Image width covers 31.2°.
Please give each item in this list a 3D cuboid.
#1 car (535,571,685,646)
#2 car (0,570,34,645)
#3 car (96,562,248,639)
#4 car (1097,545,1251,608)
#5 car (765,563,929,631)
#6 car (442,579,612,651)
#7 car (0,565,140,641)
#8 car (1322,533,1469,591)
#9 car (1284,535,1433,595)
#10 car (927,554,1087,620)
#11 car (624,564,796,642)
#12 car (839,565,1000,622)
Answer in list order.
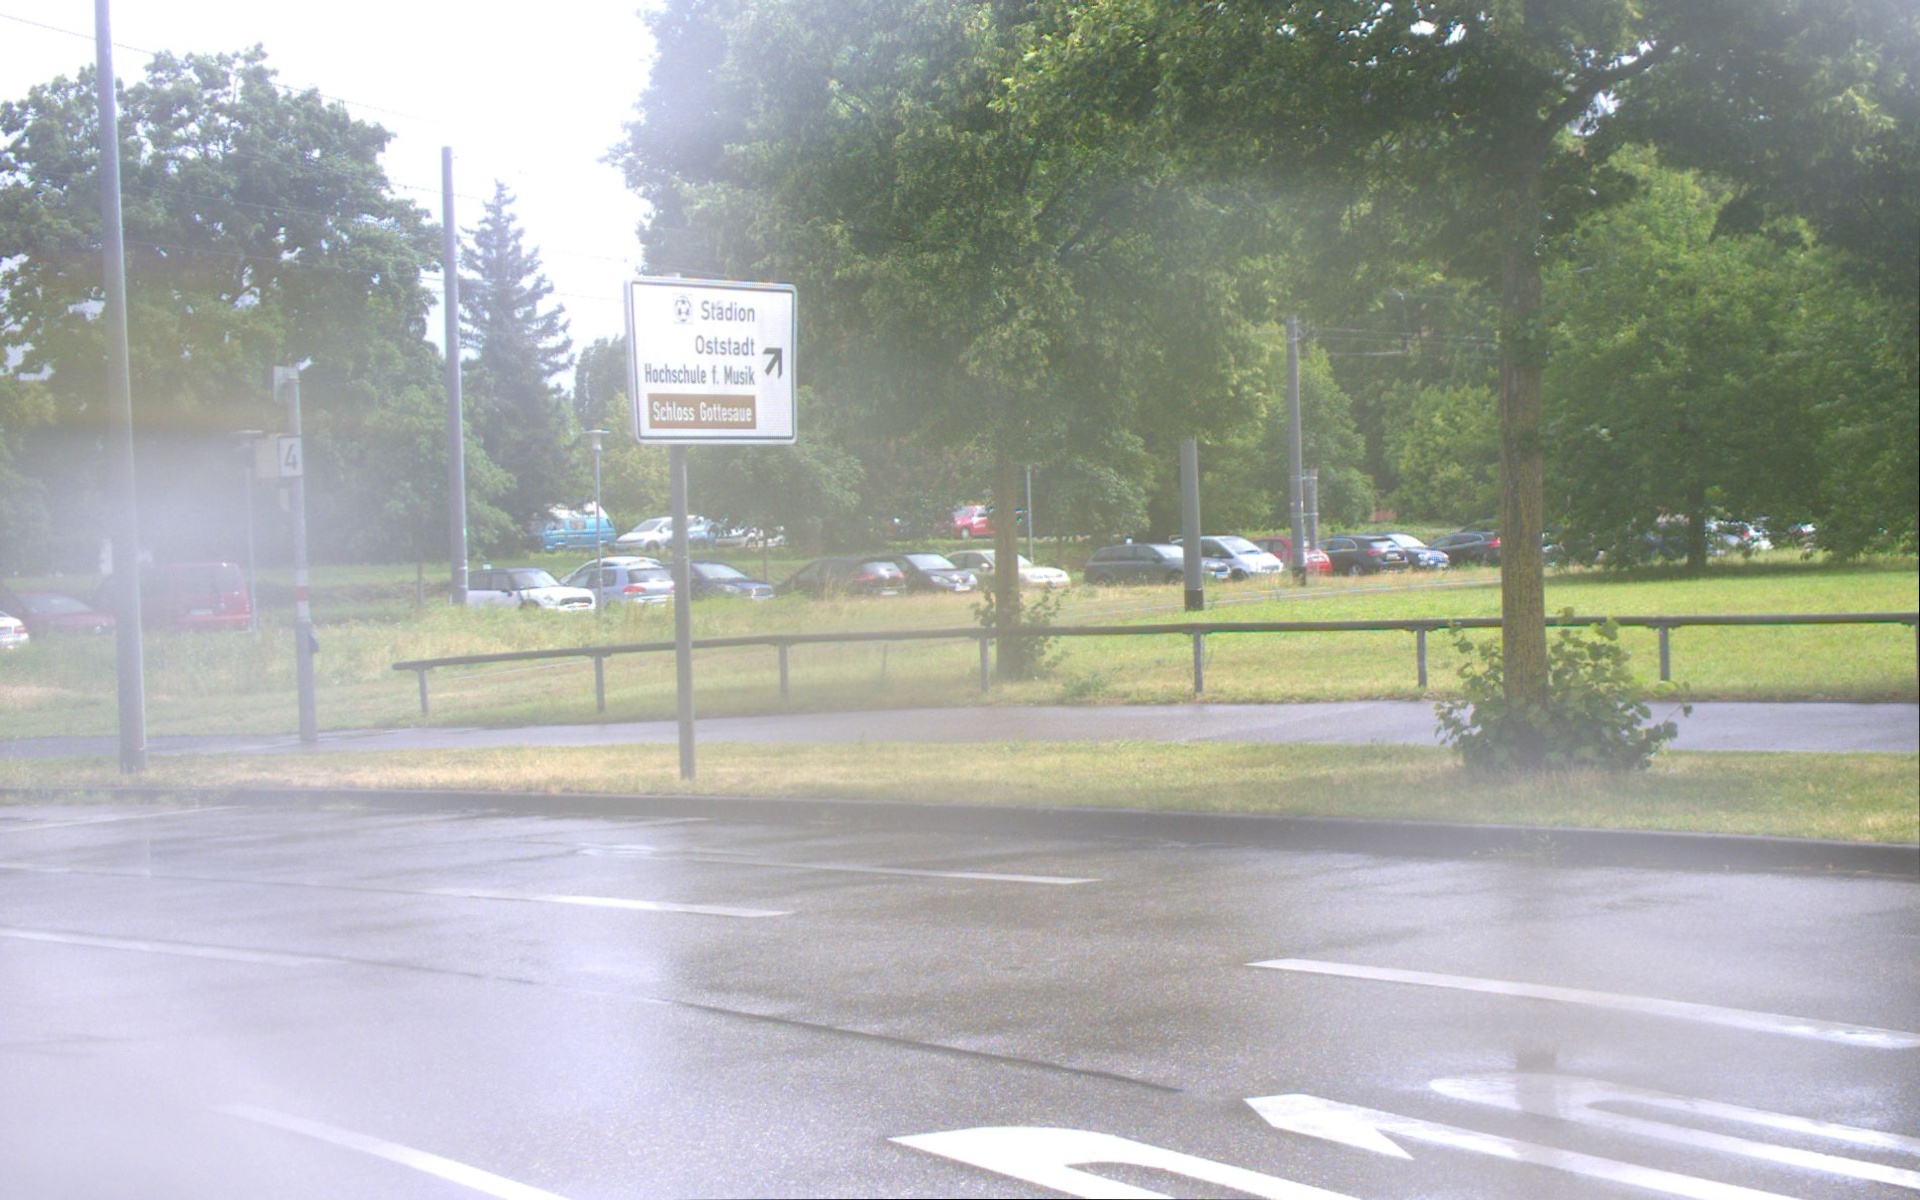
[{"bbox_3d":[-8.270,0.209,81.011,1.546,1.654,3.626,-3,1,-44],"label":"car"},{"bbox_3d":[-20.164,0.187,68.841,1.641,1.457,3.609,-3,1,-41],"label":"car"},{"bbox_3d":[-16.628,0.015,72.445,1.645,1.505,3.649,-3,1,-39],"label":"car"},{"bbox_3d":[5.874,-0.639,94.640,1.845,1.554,3.976,-3,1,-44],"label":"car"},{"bbox_3d":[-2.852,-0.073,86.070,1.845,1.554,3.976,-3,1,-44],"label":"car"},{"bbox_3d":[-10.021,0.351,79.430,1.794,1.522,3.997,-3,1,-44],"label":"car"},{"bbox_3d":[-18.527,0.064,70.779,1.641,1.457,3.609,-3,1,-41],"label":"car"},{"bbox_3d":[12.872,-1.116,101.747,1.845,1.554,3.976,-3,1,-44],"label":"car"},{"bbox_3d":[11.545,-1.005,99.683,1.845,1.554,3.976,-3,1,-44],"label":"car"},{"bbox_3d":[1.210,-0.335,89.753,1.845,1.554,3.976,-3,1,-44],"label":"car"},{"bbox_3d":[-6.042,0.085,82.883,1.995,1.709,3.998,-3,1,-43],"label":"car"},{"bbox_3d":[-1.048,-0.163,88.115,1.845,1.303,3.976,-3,1,-44],"label":"car"}]
